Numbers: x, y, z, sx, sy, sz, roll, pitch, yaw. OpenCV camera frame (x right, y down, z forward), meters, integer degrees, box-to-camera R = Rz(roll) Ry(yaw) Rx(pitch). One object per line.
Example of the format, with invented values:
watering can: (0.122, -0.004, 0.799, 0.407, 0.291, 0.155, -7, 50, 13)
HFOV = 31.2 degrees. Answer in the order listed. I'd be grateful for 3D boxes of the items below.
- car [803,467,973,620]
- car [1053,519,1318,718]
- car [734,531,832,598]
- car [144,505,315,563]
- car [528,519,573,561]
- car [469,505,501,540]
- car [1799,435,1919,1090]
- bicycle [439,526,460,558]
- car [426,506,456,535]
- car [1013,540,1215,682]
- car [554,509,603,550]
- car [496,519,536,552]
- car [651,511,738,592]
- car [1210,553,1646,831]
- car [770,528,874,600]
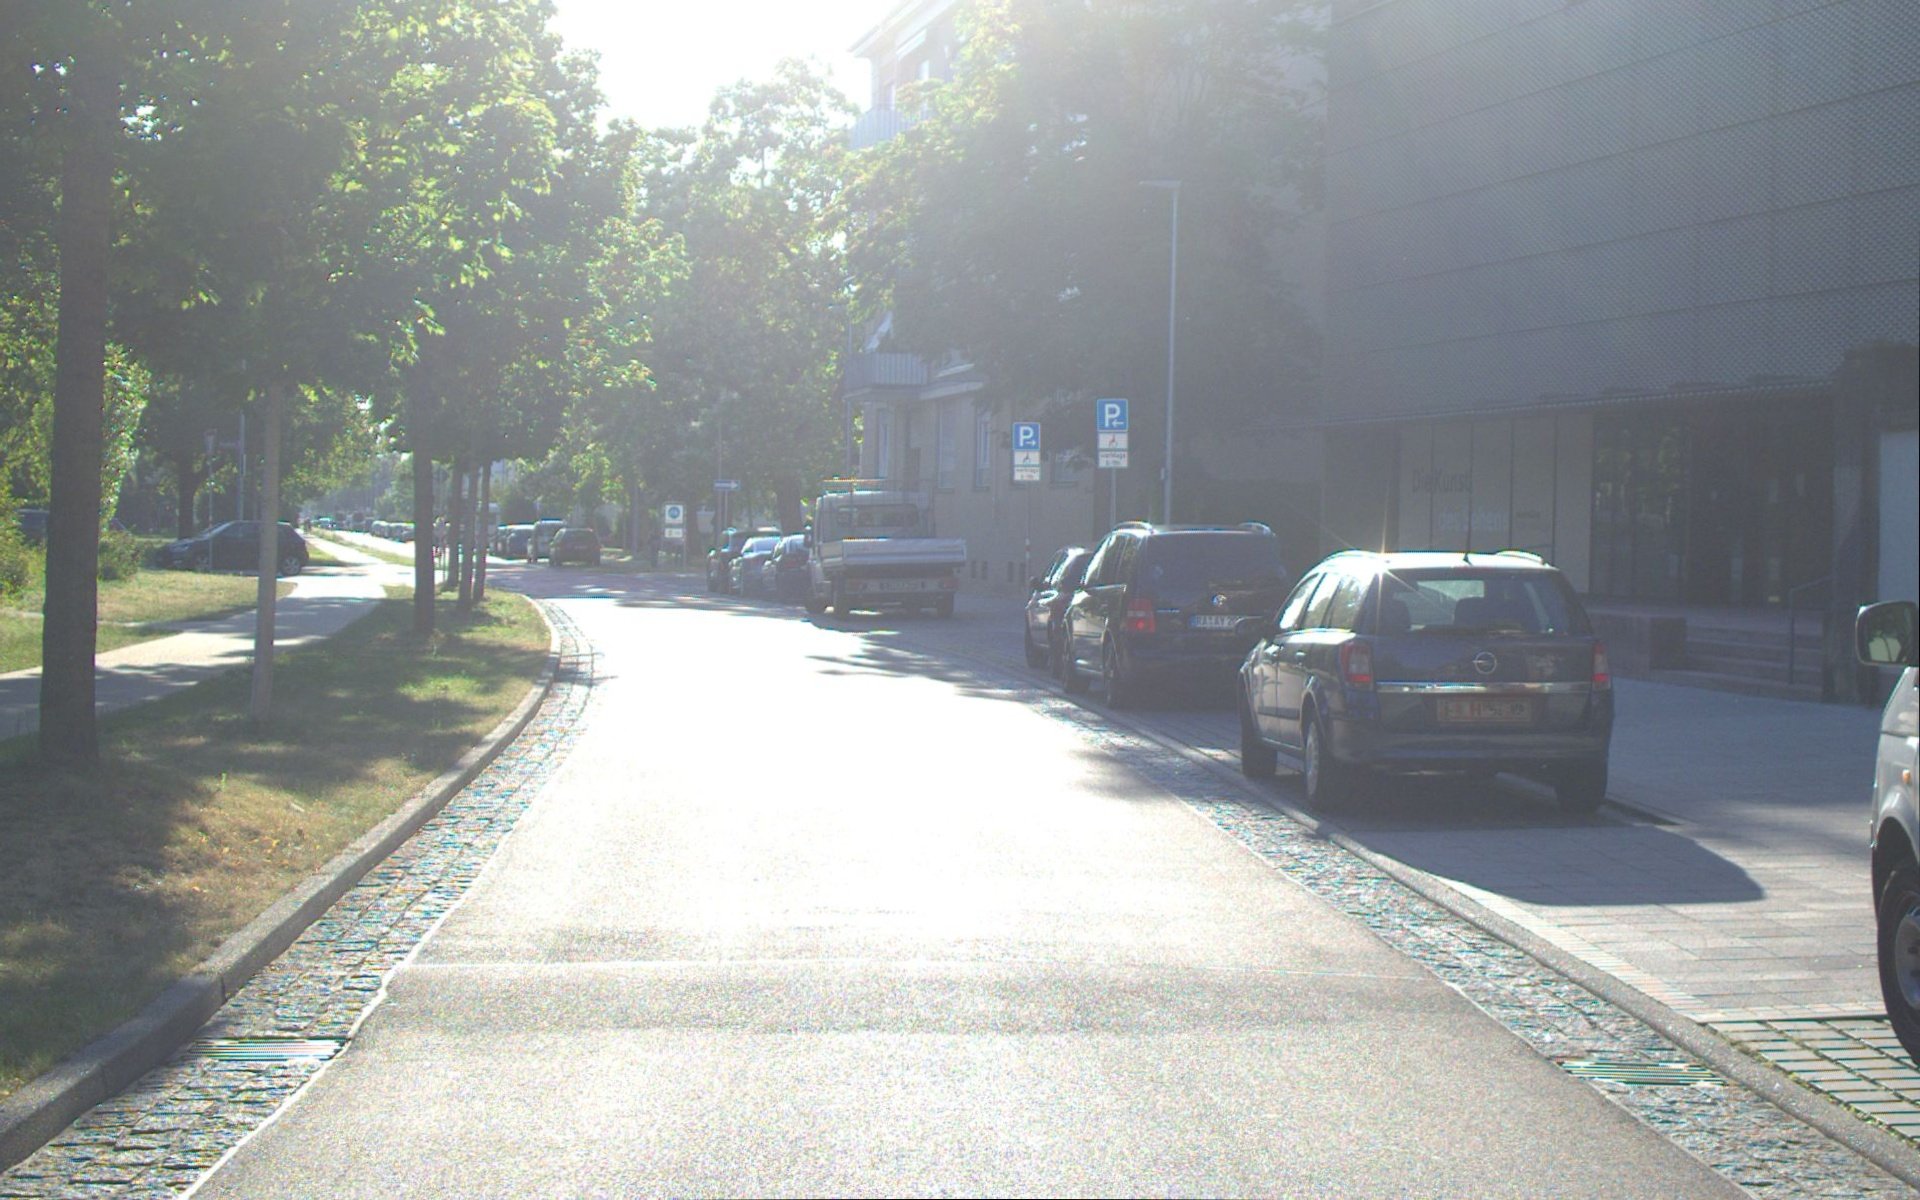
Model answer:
car: (-1.334, -1.028, 60.395, 2.211, 2.521, 6.149, -1, 2, -8)
car: (1.990, 0.111, 31.471, 1.724, 1.663, 4.115, -1, 2, -6)
car: (-3.985, -0.813, 76.902, 1.690, 1.435, 4.105, 0, 2, -10)
car: (-19.103, -1.733, 89.951, 3.987, 1.415, 1.771, 1, 2, -36)
car: (-17.676, -2.583, 148.153, 1.793, 1.718, 4.001, 1, 1, -8)
car: (-27.626, -4.511, 199.795, 1.793, 1.992, 4.001, 1, 1, -8)
car: (3.834, 0.482, 9.089, 1.993, 1.959, 4.849, -2, 1, 0)
bicycle: (-20.674, -2.359, 139.162, 0.688, 1.198, 2.344, 1, 2, -6)
car: (-36.358, -5.588, 240.661, 1.993, 1.963, 4.001, 2, 1, -9)
car: (1.625, 0.079, 37.494, 1.724, 1.416, 3.907, 0, 2, -5)
car: (-14.919, -2.771, 134.591, 1.793, 1.504, 4.001, 1, 1, -6)
car: (-21.107, -3.079, 163.500, 1.793, 1.504, 4.001, 1, 1, -8)
car: (-6.925, -1.272, 89.457, 1.822, 2.007, 3.606, 1, 1, -11)
car: (2.746, 0.474, 21.162, 1.747, 1.461, 4.478, -1, 1, -4)
car: (-2.891, -0.767, 71.384, 1.690, 1.435, 3.552, 0, 2, -10)
